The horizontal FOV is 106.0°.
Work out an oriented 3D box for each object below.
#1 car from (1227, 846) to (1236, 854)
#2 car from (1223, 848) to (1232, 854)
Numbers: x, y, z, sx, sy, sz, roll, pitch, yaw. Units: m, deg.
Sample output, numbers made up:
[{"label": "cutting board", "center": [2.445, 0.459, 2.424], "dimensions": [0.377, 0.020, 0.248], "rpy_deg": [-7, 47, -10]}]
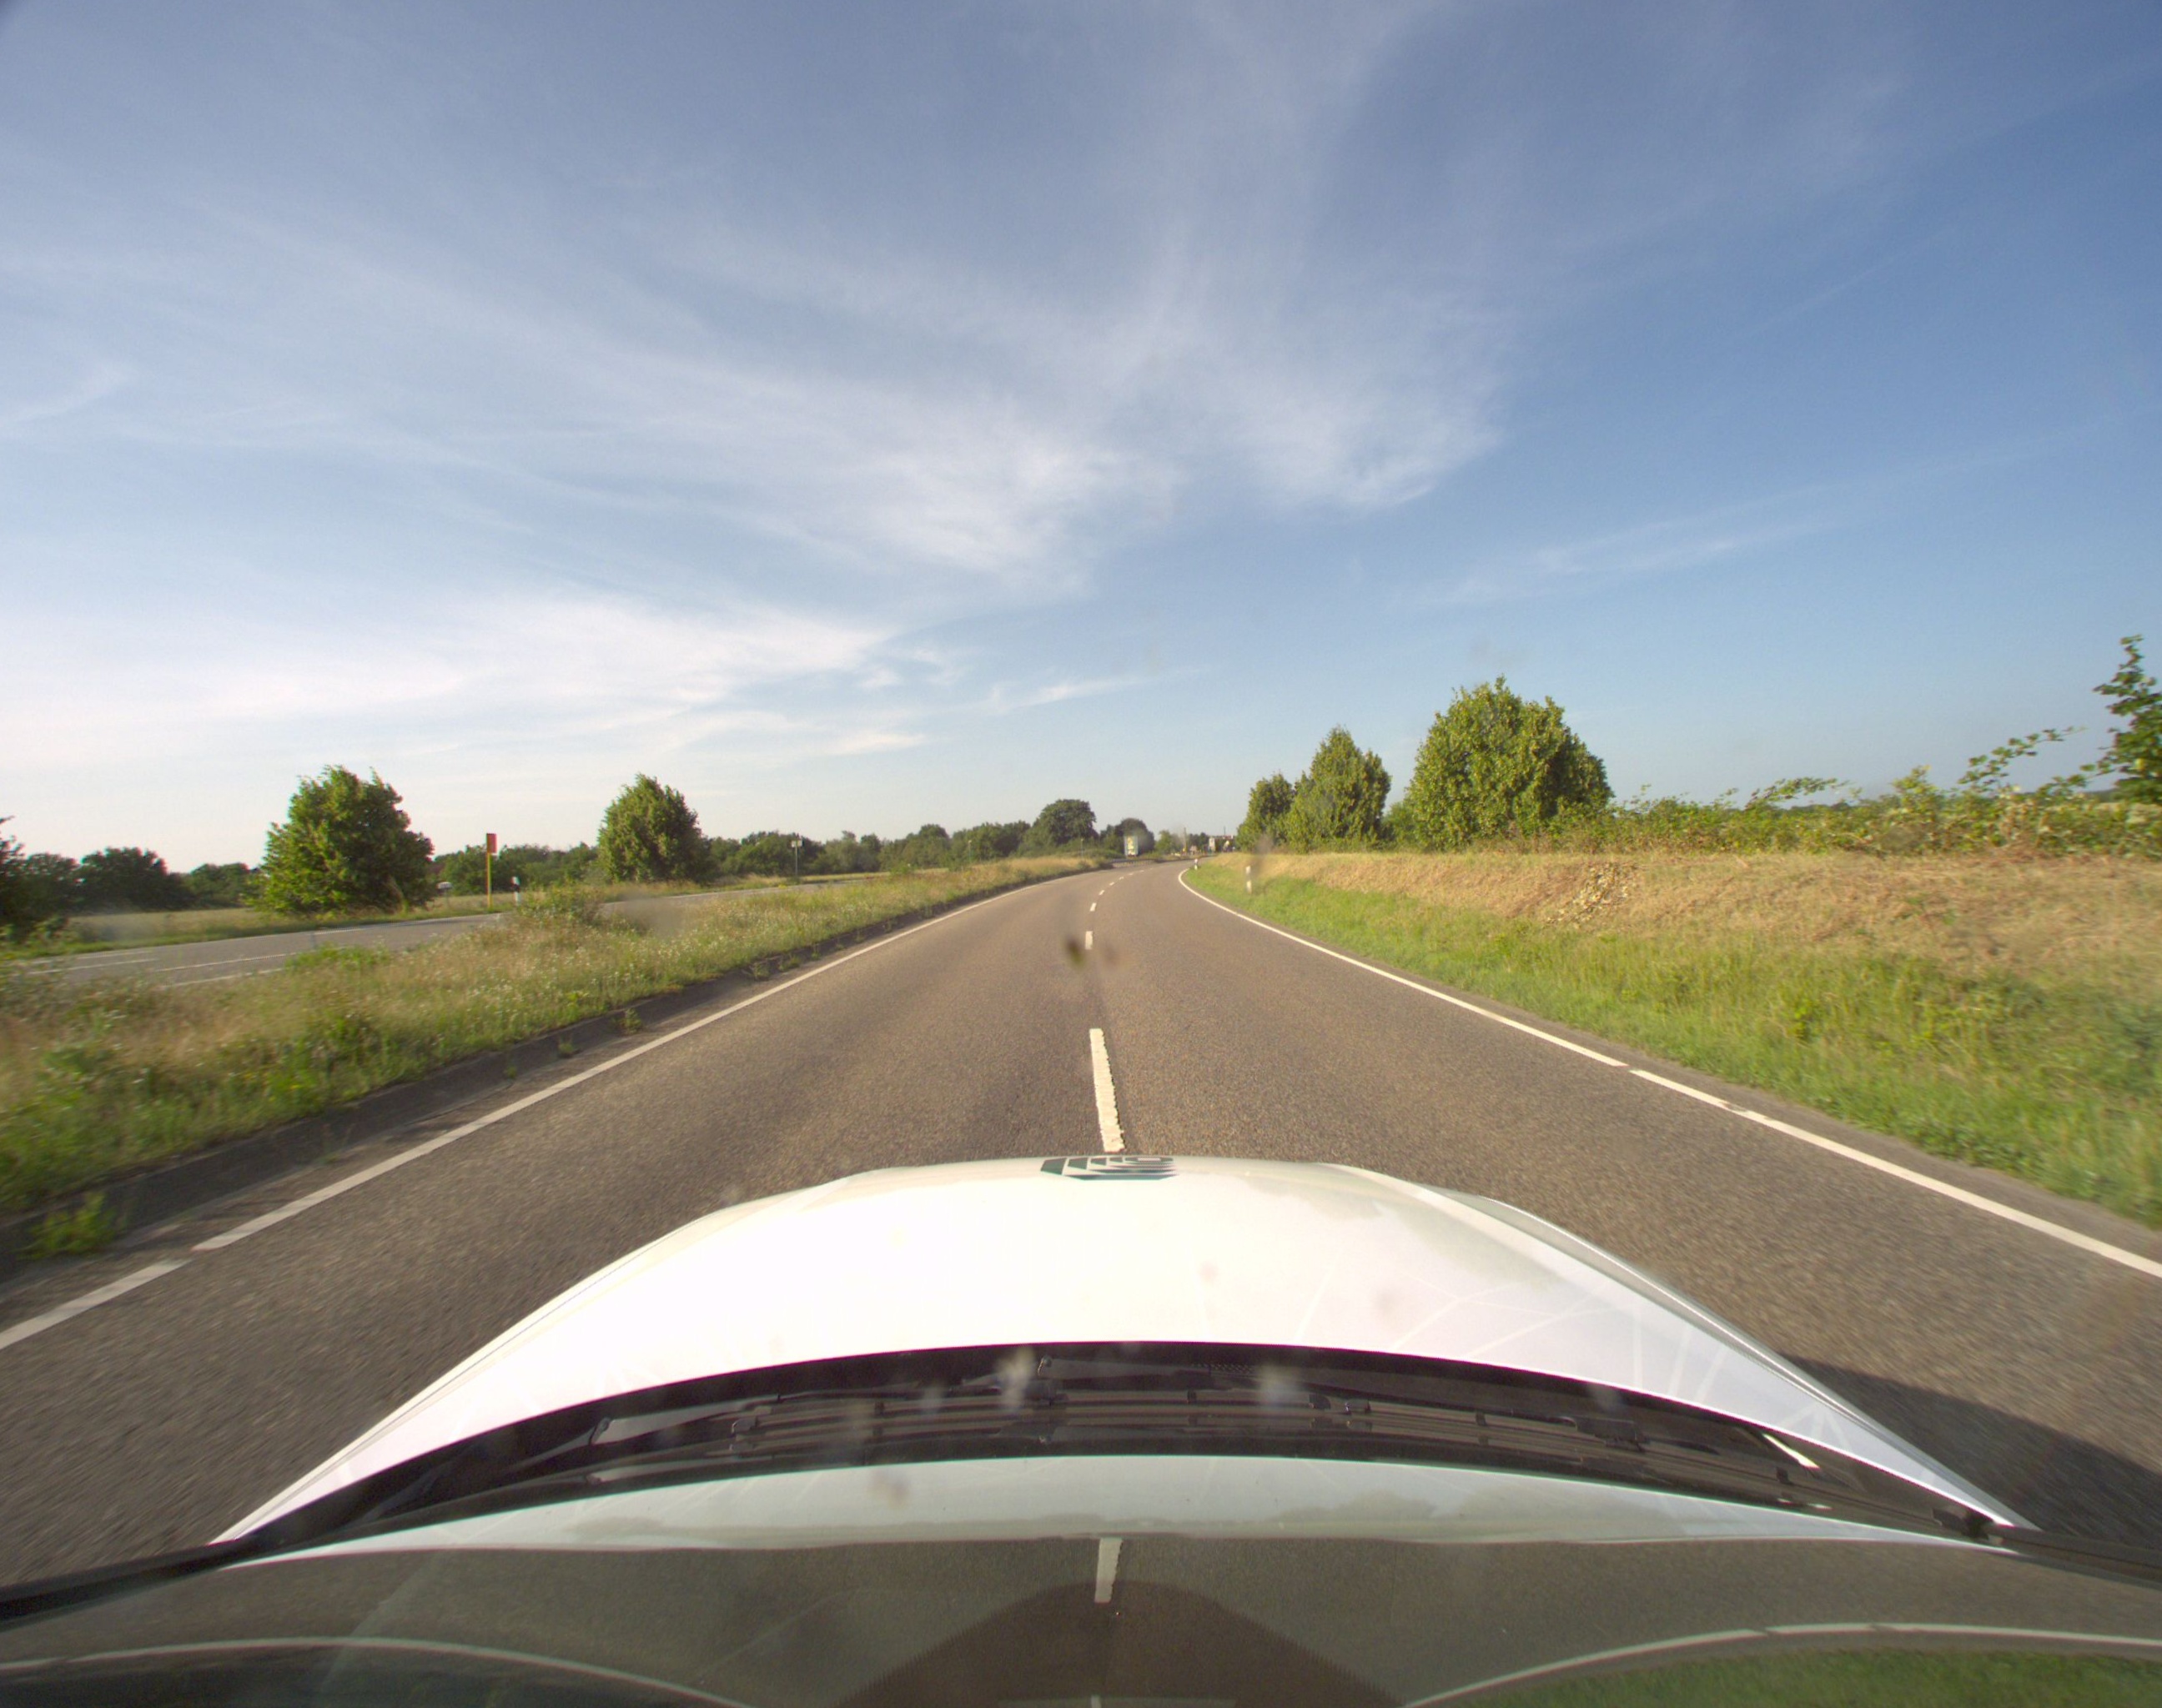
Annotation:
[{"label": "car", "center": [38.991, -1.073, 210.985], "dimensions": [1.718, 1.855, 4.541], "rpy_deg": [-2, 0, 18]}, {"label": "car", "center": [36.720, -0.802, 204.319], "dimensions": [1.718, 1.456, 4.541], "rpy_deg": [-2, 0, 18]}]
